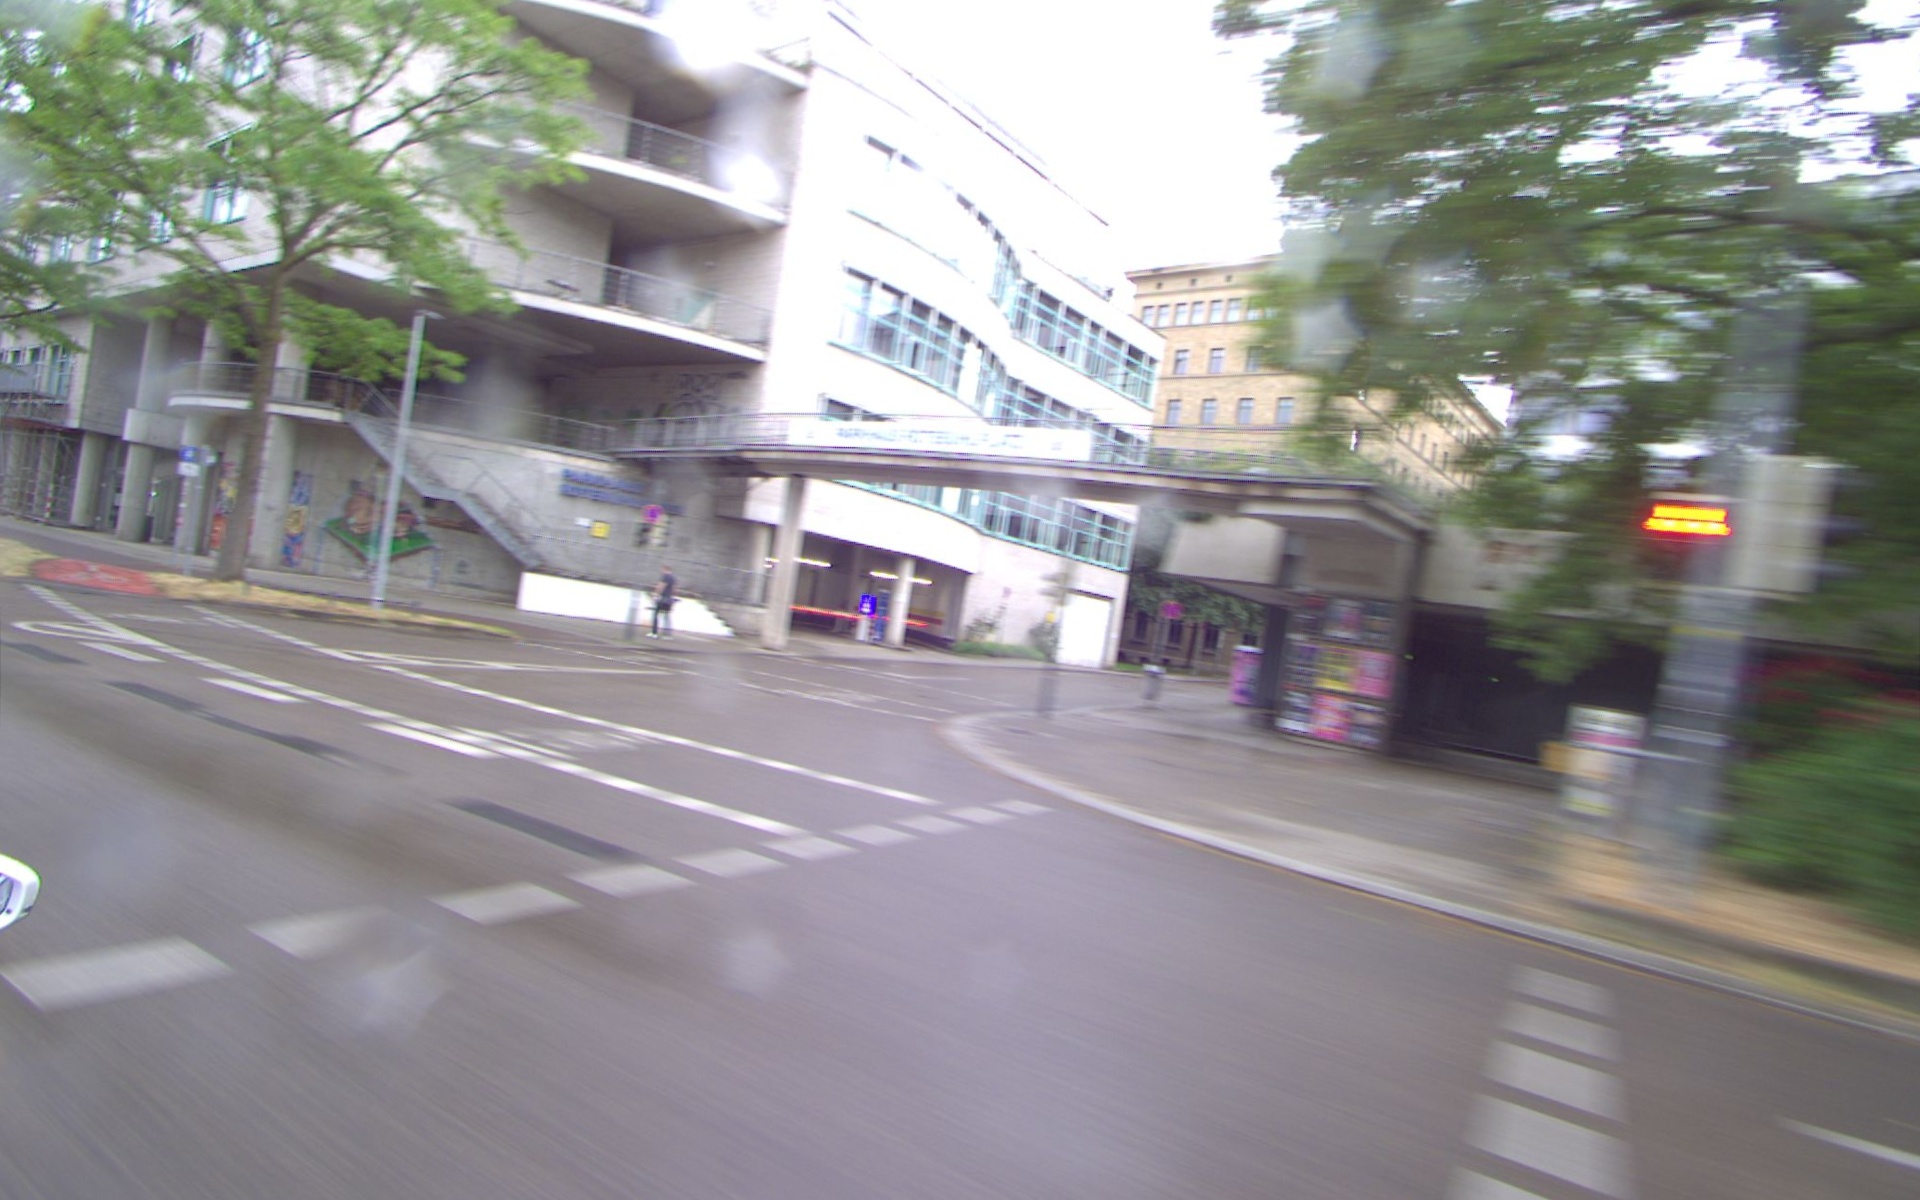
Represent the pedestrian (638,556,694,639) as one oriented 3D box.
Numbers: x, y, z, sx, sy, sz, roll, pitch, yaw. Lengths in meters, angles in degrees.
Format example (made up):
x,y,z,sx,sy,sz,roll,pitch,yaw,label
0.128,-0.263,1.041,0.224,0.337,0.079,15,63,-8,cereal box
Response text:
x,y,z,sx,sy,sz,roll,pitch,yaw,label
-7.386,-0.061,25.287,0.745,1.933,0.847,7,0,31,pedestrian
